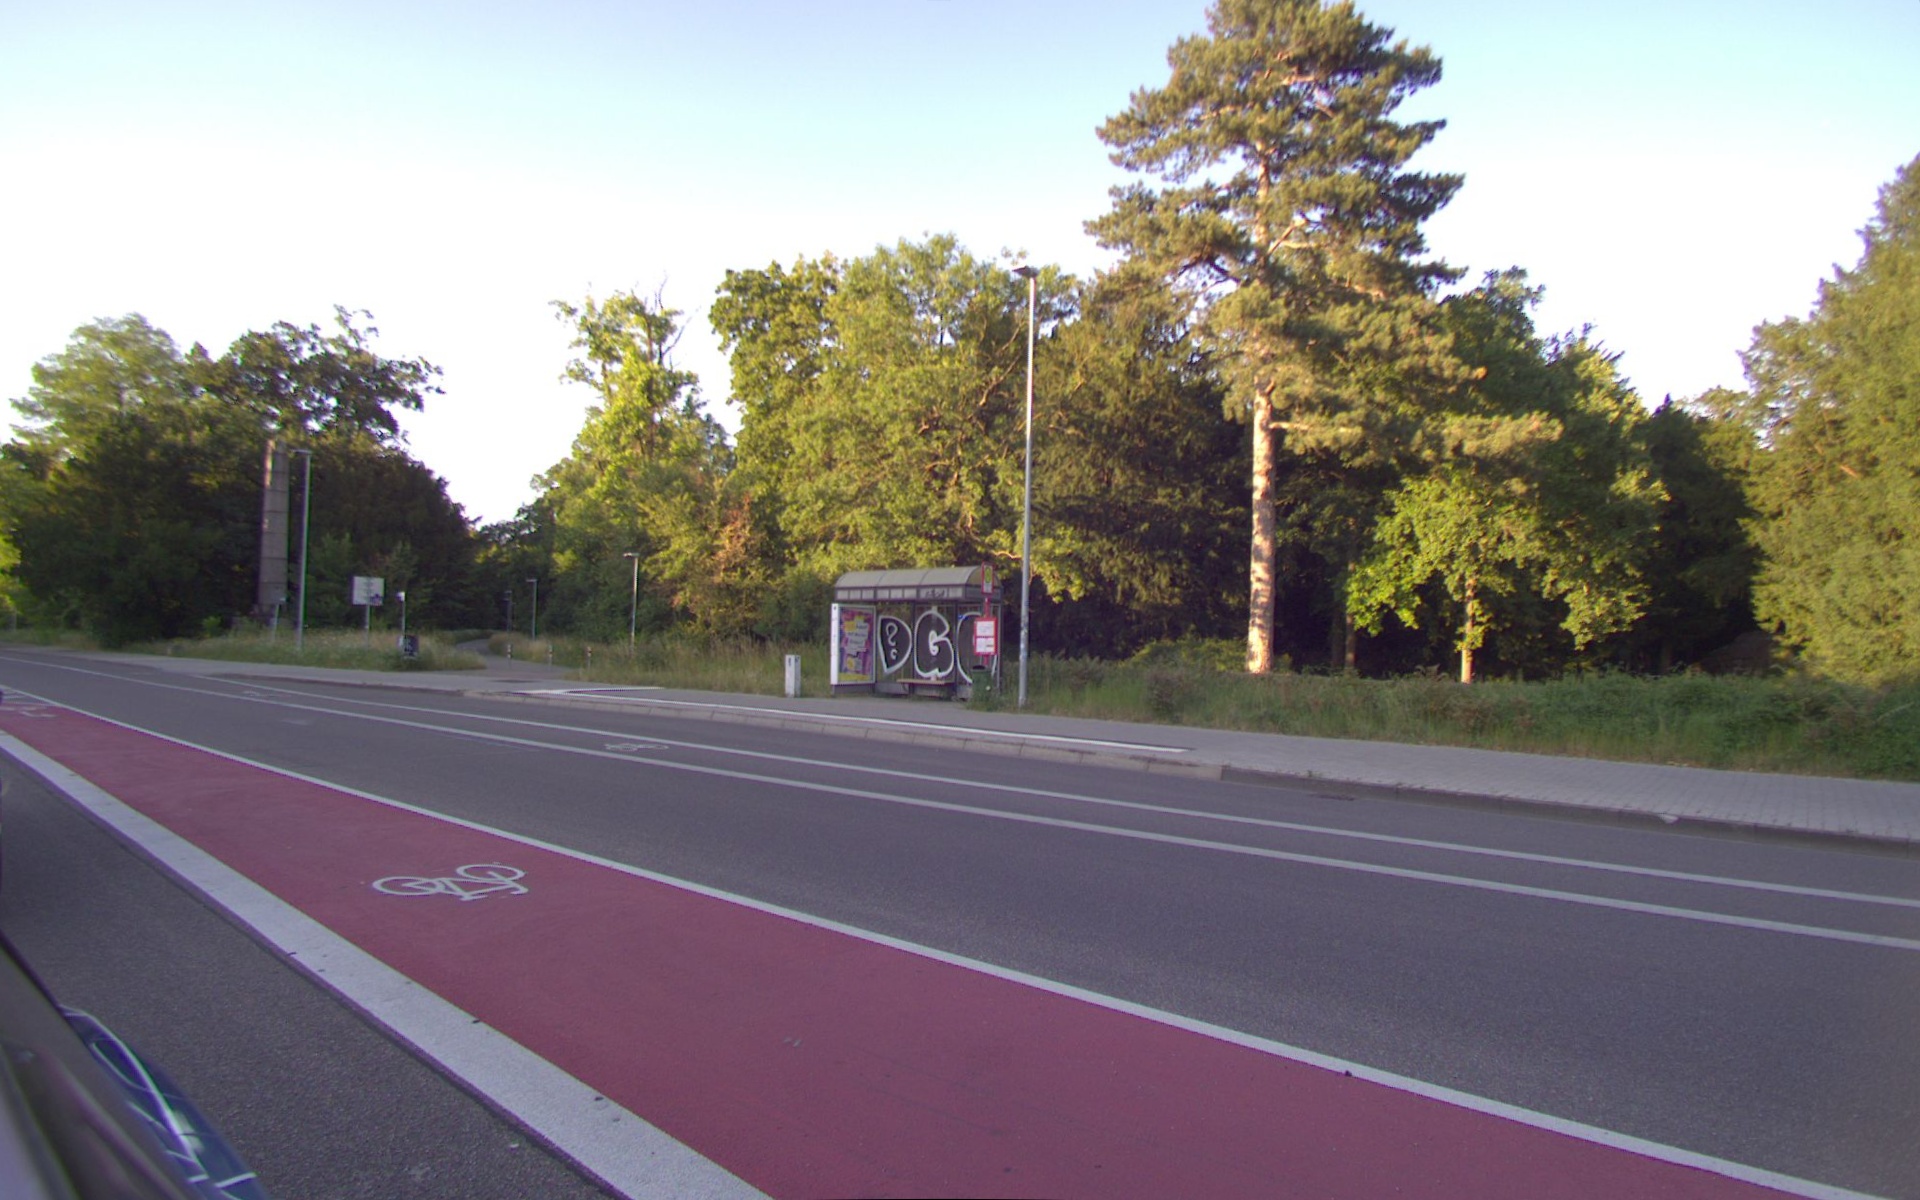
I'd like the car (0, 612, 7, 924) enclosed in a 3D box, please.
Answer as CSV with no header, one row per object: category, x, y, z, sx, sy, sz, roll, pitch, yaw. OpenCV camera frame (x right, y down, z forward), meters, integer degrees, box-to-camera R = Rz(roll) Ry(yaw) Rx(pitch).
car,-6.898,0.811,5.610,5.209,1.410,1.795,-1,0,40
